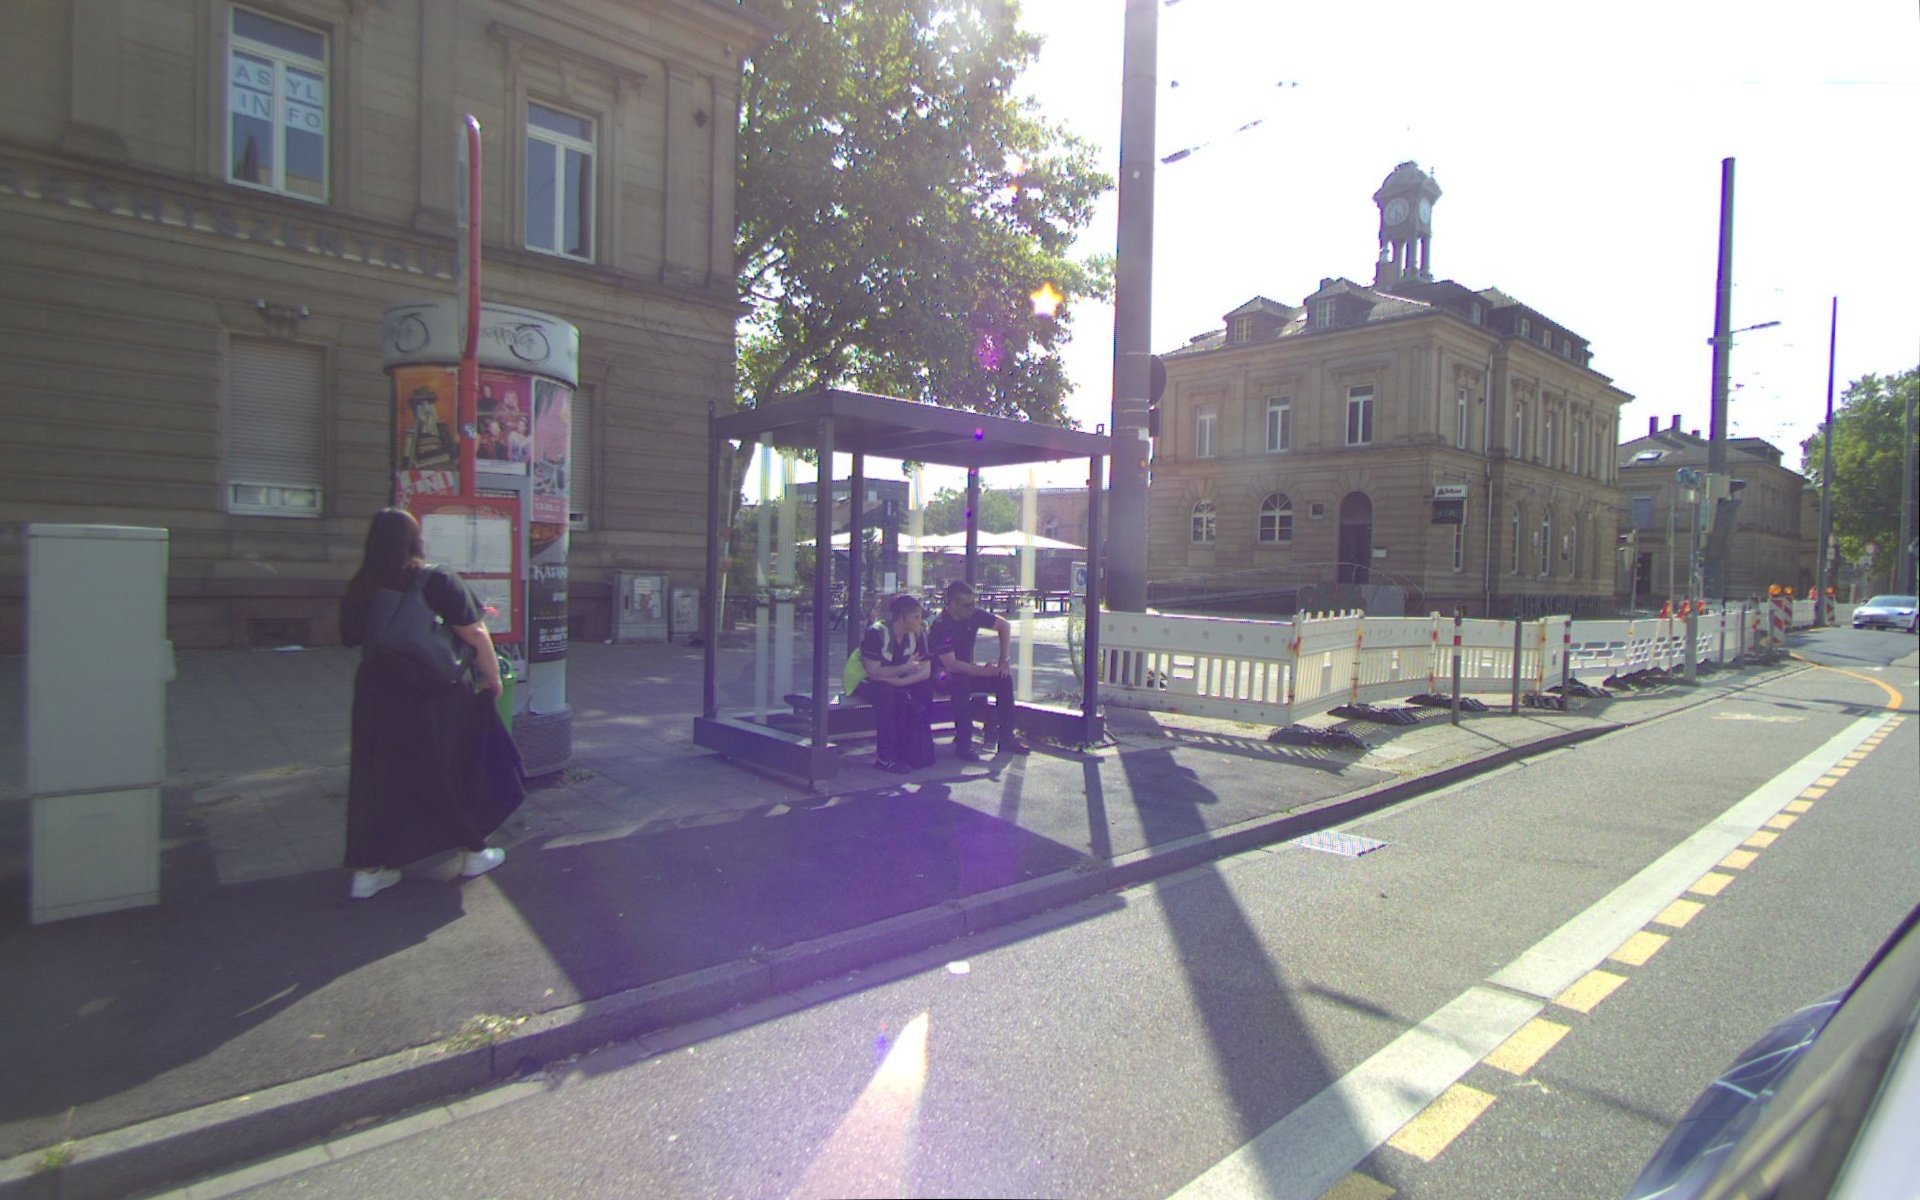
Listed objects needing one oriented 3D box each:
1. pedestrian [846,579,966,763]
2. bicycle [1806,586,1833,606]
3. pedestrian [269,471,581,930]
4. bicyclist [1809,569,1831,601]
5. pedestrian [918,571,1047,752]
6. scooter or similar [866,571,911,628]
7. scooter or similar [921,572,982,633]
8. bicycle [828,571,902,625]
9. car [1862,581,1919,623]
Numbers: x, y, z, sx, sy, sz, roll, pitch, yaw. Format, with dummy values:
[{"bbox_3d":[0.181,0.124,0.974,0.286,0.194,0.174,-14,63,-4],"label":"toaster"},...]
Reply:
[{"bbox_3d":[-0.395,0.480,7.328,0.565,1.232,0.609,0,4,-44],"label":"pedestrian"},{"bbox_3d":[45.671,-0.205,53.753,2.095,1.045,0.743,0,3,-41],"label":"bicycle"},{"bbox_3d":[-2.210,0.339,4.205,0.878,1.646,0.813,2,2,33],"label":"pedestrian"},{"bbox_3d":[45.640,-0.783,53.702,0.838,1.645,0.736,0,2,-41],"label":"bicyclist"},{"bbox_3d":[0.173,0.440,7.846,0.746,1.292,0.609,0,4,-44],"label":"pedestrian"},{"bbox_3d":[-1.521,-0.014,21.442,0.307,1.146,1.093,0,2,-44],"label":"scooter or similar"},{"bbox_3d":[-0.165,0.043,20.513,1.203,1.180,0.410,0,2,-37],"label":"scooter or similar"},{"bbox_3d":[-2.136,-0.044,22.834,1.599,1.180,0.500,0,2,-37],"label":"bicycle"},{"bbox_3d":[36.533,0.067,39.192,3.930,1.477,1.844,0,4,-41],"label":"car"}]
